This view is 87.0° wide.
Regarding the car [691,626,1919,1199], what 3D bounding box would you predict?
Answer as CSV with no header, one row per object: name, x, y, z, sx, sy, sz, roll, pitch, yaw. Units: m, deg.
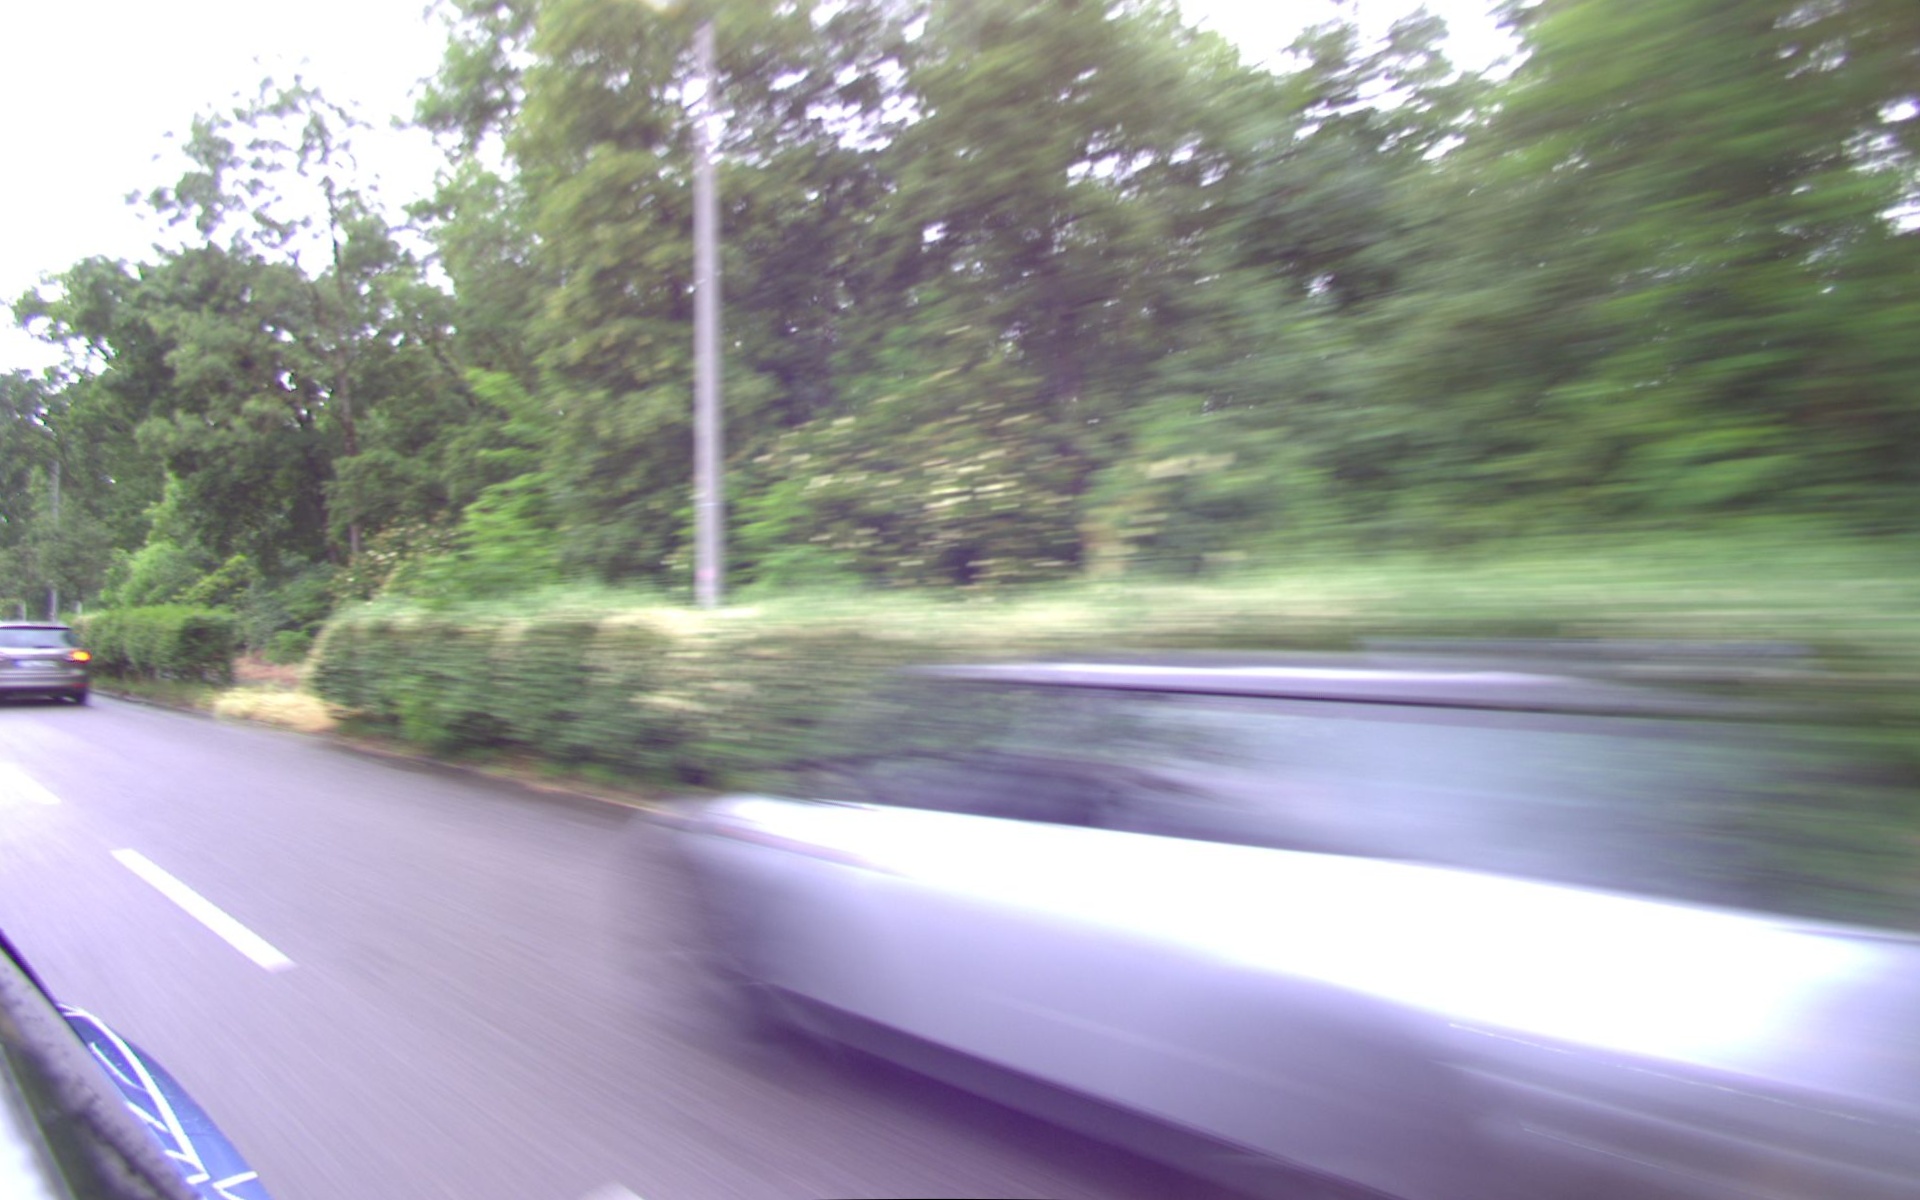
car,1.035,0.786,2.830,3.722,1.366,1.668,-3,-4,41

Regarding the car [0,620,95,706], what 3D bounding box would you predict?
car,-18.021,1.178,19.292,3.997,1.503,1.712,-3,-3,41
